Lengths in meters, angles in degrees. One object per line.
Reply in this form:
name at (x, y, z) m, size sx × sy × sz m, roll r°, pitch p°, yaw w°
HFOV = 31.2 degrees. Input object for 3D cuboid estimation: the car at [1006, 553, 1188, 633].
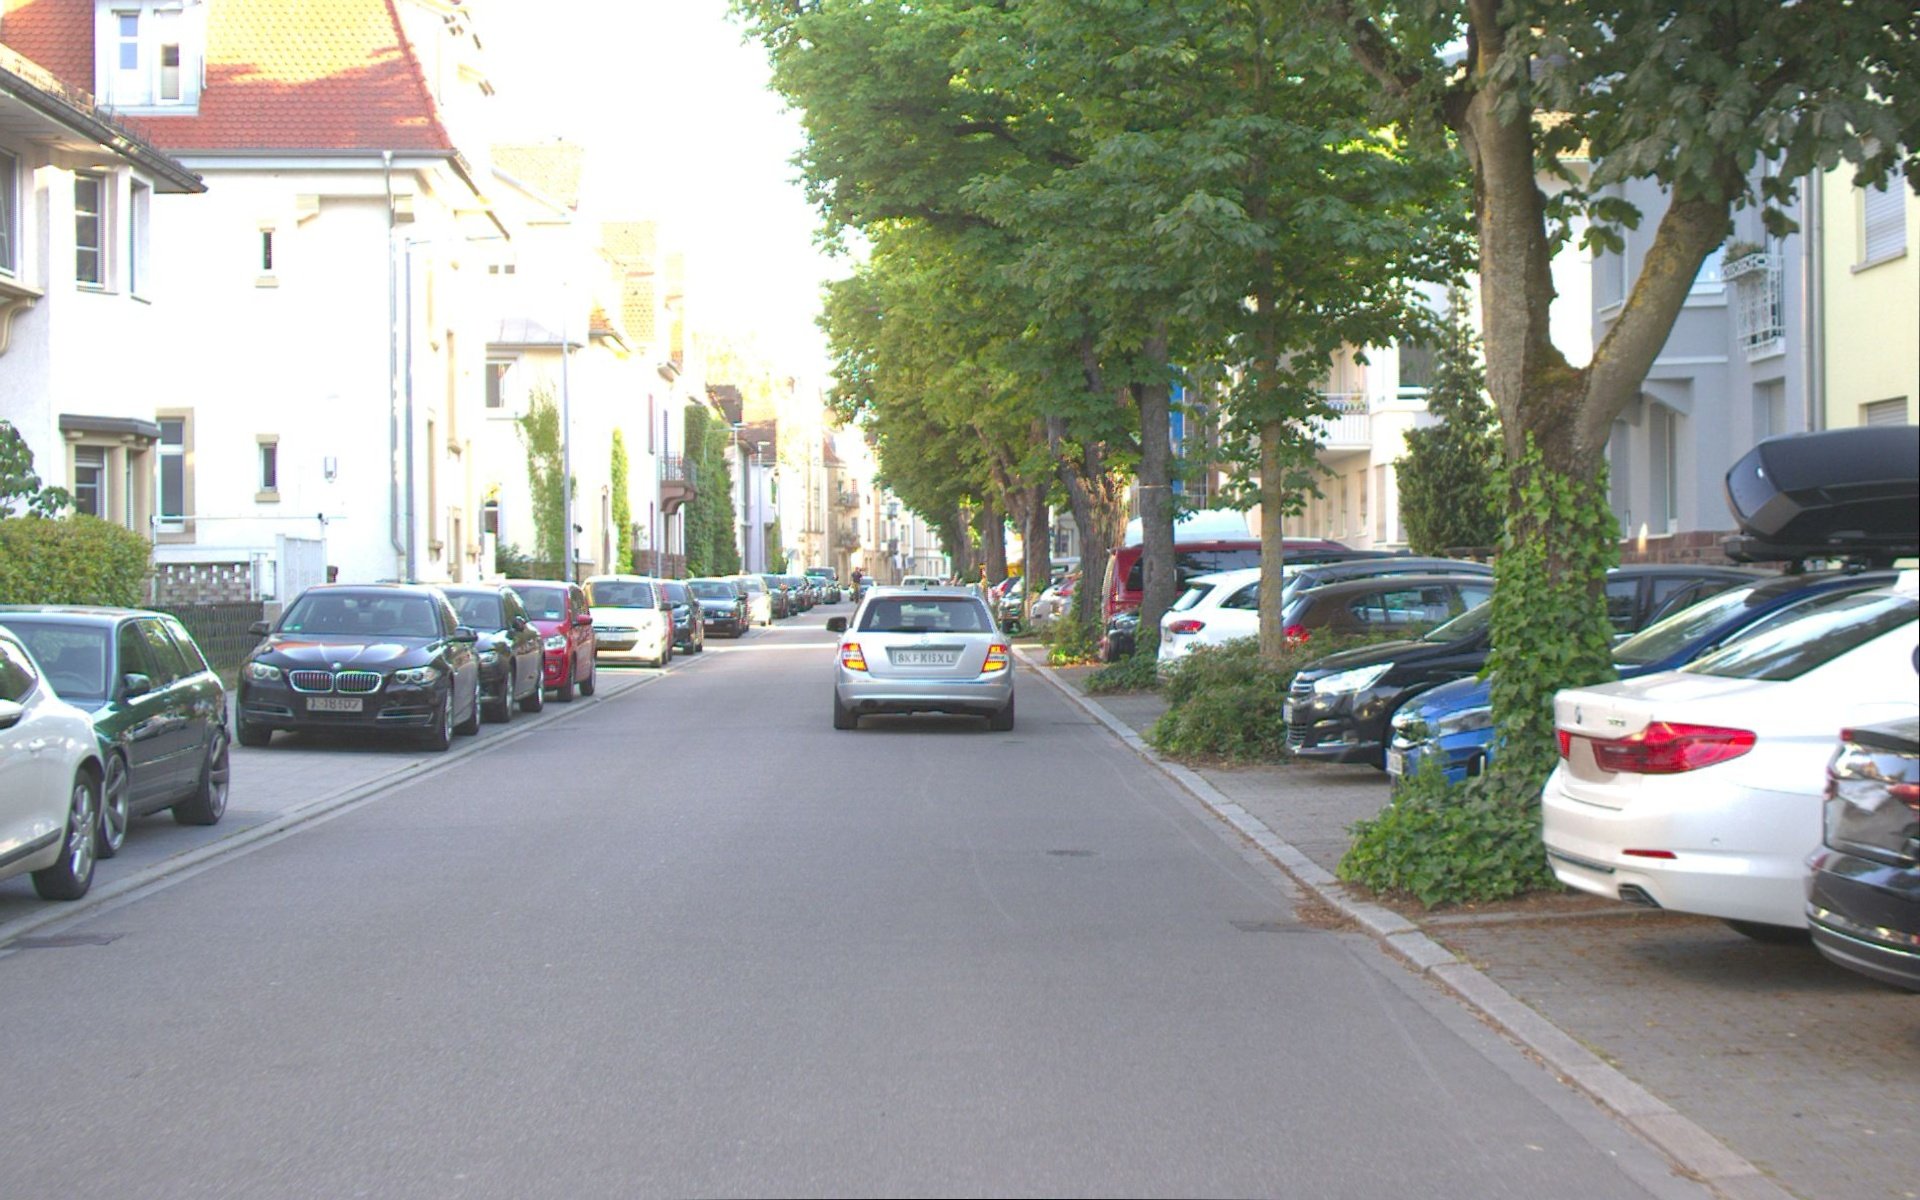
car at (3.525, -0.195, 89.052) m, size 4.518 × 2.007 × 2.251 m, roll 0°, pitch 0°, yaw -2°

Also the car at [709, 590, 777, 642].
car at (-6.433, 0.471, 102.260) m, size 1.799 × 1.477 × 3.857 m, roll 0°, pitch 0°, yaw -1°

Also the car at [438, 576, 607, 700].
car at (-5.490, 0.467, 43.499) m, size 1.659 × 1.483 × 3.754 m, roll 0°, pitch 0°, yaw 0°

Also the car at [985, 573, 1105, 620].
car at (2.718, -0.120, 110.946) m, size 3.844 × 1.477 × 1.805 m, roll 0°, pitch 0°, yaw 0°

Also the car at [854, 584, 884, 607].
car at (-5.662, -0.299, 214.254) m, size 1.799 × 1.382 × 3.606 m, roll 0°, pitch 0°, yaw -1°

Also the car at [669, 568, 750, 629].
car at (-6.229, -0.066, 85.765) m, size 1.799 × 1.477 × 3.857 m, roll 0°, pitch 0°, yaw -1°

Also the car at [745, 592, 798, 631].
car at (-6.875, 0.414, 125.757) m, size 1.799 × 1.382 × 3.606 m, roll 0°, pitch 0°, yaw -1°

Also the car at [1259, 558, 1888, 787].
car at (4.379, 0.504, 24.983) m, size 4.190 × 1.553 × 1.874 m, roll -1°, pitch 0°, yaw -1°

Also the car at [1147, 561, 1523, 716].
car at (3.924, 0.396, 36.353) m, size 3.730 × 1.553 × 1.725 m, roll -1°, pitch 0°, yaw -2°

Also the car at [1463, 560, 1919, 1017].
car at (4.363, 0.606, 13.062) m, size 4.476 × 1.520 × 1.954 m, roll -1°, pitch 1°, yaw -6°

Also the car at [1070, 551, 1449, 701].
car at (3.769, 0.317, 43.869) m, size 4.625 × 1.830 × 1.954 m, roll 0°, pitch 0°, yaw -1°

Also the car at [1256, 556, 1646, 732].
car at (4.791, 0.423, 33.874) m, size 3.547 × 1.648 × 1.725 m, roll -1°, pitch 0°, yaw -2°

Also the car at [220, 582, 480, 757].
car at (-5.579, 0.608, 31.965) m, size 1.854 × 1.492 × 4.655 m, roll 0°, pitch 0°, yaw -3°

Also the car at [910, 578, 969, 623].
car at (-0.681, 0.024, 115.522) m, size 1.817 × 1.468 × 4.216 m, roll 0°, pitch -1°, yaw 2°

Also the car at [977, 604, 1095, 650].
car at (2.489, 0.889, 113.019) m, size 3.844 × 1.477 × 1.805 m, roll 0°, pitch 0°, yaw 0°

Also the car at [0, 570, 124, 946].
car at (-5.022, 0.665, 15.139) m, size 1.884 × 1.585 × 4.091 m, roll 0°, pitch 0°, yaw -3°

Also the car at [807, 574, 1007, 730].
car at (-0.472, 0.517, 34.597) m, size 1.817 × 1.468 × 4.216 m, roll 0°, pitch -1°, yaw 2°

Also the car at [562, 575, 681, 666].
car at (-5.716, 0.345, 58.367) m, size 1.659 × 1.494 × 3.754 m, roll 0°, pitch 0°, yaw 0°

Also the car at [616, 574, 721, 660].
car at (-5.741, 0.311, 68.073) m, size 1.799 × 1.639 × 3.857 m, roll 0°, pitch 0°, yaw -1°

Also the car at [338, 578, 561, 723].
car at (-5.579, 0.531, 38.071) m, size 1.783 × 1.492 × 4.699 m, roll 0°, pitch 0°, yaw 0°

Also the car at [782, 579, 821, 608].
car at (-7.711, -0.312, 167.272) m, size 1.799 × 1.382 × 3.606 m, roll 0°, pitch 0°, yaw -1°

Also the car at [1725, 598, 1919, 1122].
car at (4.607, 0.682, 10.441) m, size 4.142 × 1.443 × 1.673 m, roll -1°, pitch 0°, yaw -1°

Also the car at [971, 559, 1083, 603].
car at (2.307, -0.661, 119.299) m, size 3.844 × 1.477 × 1.805 m, roll 0°, pitch 0°, yaw 0°

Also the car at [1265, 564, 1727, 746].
car at (4.800, 0.476, 31.157) m, size 3.925 × 1.553 × 1.725 m, roll -1°, pitch 1°, yaw 1°

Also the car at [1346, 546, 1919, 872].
car at (4.476, 0.544, 18.546) m, size 4.526 × 1.635 × 1.874 m, roll -1°, pitch 0°, yaw -1°

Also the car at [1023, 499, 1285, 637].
car at (4.245, -0.708, 76.035) m, size 5.541 × 2.958 × 2.472 m, roll 0°, pitch 0°, yaw -3°

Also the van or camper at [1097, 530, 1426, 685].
van or camper at (4.007, 0.094, 46.302) m, size 4.313 × 2.007 × 2.000 m, roll 1°, pitch 0°, yaw 2°

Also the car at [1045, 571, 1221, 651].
car at (3.655, 0.217, 73.079) m, size 3.594 × 1.654 × 1.650 m, roll 0°, pitch 0°, yaw -2°

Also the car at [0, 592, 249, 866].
car at (-5.478, 0.684, 20.201) m, size 1.758 × 1.442 × 4.142 m, roll 0°, pitch 0°, yaw 0°
